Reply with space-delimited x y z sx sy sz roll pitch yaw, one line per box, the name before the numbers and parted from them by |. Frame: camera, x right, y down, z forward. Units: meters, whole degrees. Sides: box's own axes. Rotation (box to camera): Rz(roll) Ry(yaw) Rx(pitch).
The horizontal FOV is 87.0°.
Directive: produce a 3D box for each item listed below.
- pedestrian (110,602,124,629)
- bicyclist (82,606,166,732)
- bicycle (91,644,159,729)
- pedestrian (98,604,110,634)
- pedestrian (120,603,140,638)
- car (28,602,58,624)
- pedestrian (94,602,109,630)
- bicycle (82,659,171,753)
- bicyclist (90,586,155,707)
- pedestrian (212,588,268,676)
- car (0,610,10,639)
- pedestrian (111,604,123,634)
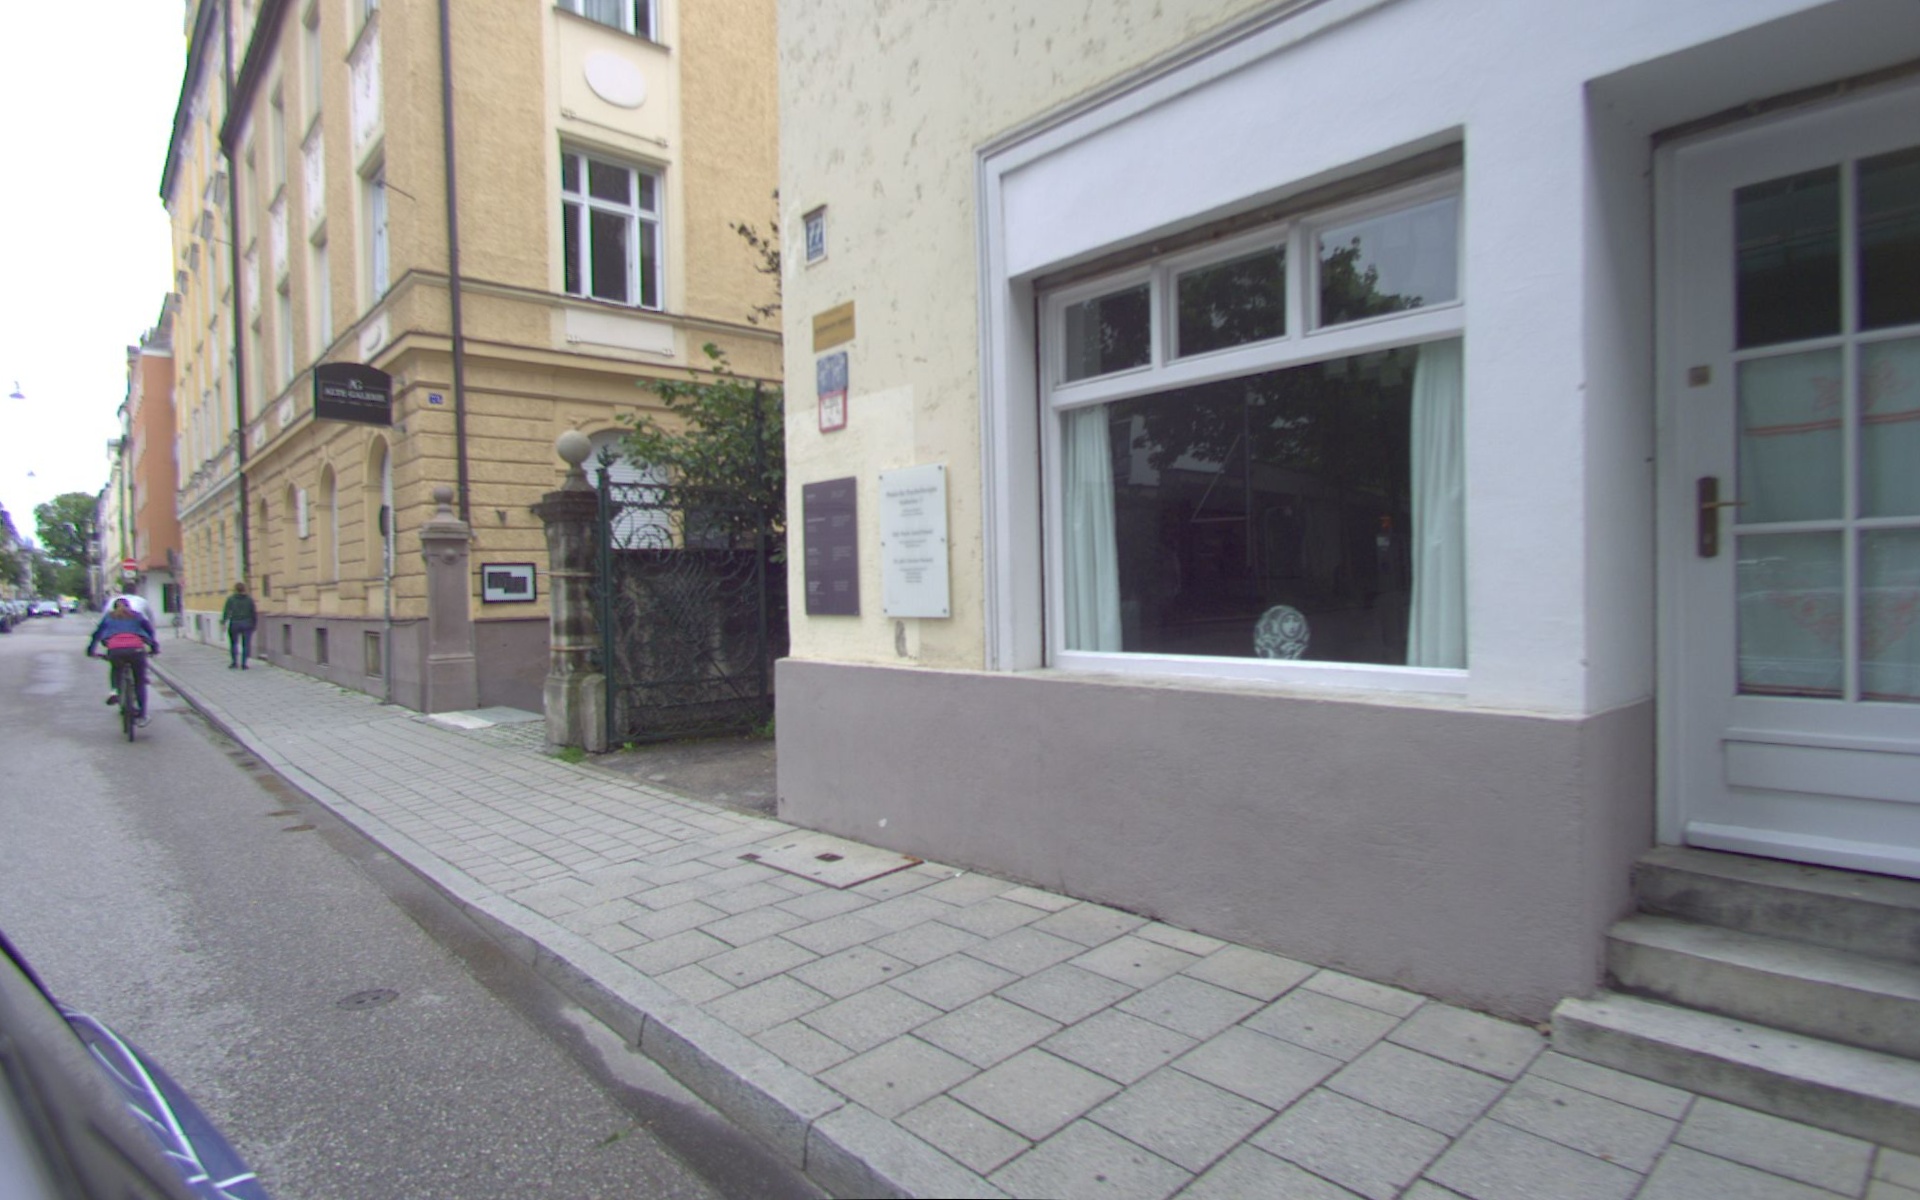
pedestrian | -57.060 1.030 68.507 0.689 1.806 0.764 -1 0 -41
bicyclist | -9.738 0.768 11.785 0.699 1.381 0.814 -1 0 -42
bicycle | -11.970 1.198 14.488 0.653 1.047 2.007 -1 0 -42
pedestrian | -57.433 1.260 67.910 0.625 2.029 0.789 0 -1 -41
pedestrian | -40.857 1.023 49.819 0.565 1.706 0.606 -1 0 36
car | -82.606 1.173 91.168 1.902 1.818 4.449 -2 1 -42
pedestrian | -57.555 1.064 67.828 0.715 1.806 0.831 -1 0 -42
bicycle | -9.720 1.189 11.780 0.699 0.912 1.811 -1 0 -42
bicyclist | -11.993 0.643 14.492 0.651 1.655 0.896 -1 0 -42
pedestrian | -14.485 0.632 20.367 0.704 1.678 0.931 -6 3 -42
car | -49.357 1.237 51.285 1.629 1.409 4.005 -1 1 -41
pedestrian | -57.001 1.267 68.431 0.625 2.029 0.789 0 -1 -41
